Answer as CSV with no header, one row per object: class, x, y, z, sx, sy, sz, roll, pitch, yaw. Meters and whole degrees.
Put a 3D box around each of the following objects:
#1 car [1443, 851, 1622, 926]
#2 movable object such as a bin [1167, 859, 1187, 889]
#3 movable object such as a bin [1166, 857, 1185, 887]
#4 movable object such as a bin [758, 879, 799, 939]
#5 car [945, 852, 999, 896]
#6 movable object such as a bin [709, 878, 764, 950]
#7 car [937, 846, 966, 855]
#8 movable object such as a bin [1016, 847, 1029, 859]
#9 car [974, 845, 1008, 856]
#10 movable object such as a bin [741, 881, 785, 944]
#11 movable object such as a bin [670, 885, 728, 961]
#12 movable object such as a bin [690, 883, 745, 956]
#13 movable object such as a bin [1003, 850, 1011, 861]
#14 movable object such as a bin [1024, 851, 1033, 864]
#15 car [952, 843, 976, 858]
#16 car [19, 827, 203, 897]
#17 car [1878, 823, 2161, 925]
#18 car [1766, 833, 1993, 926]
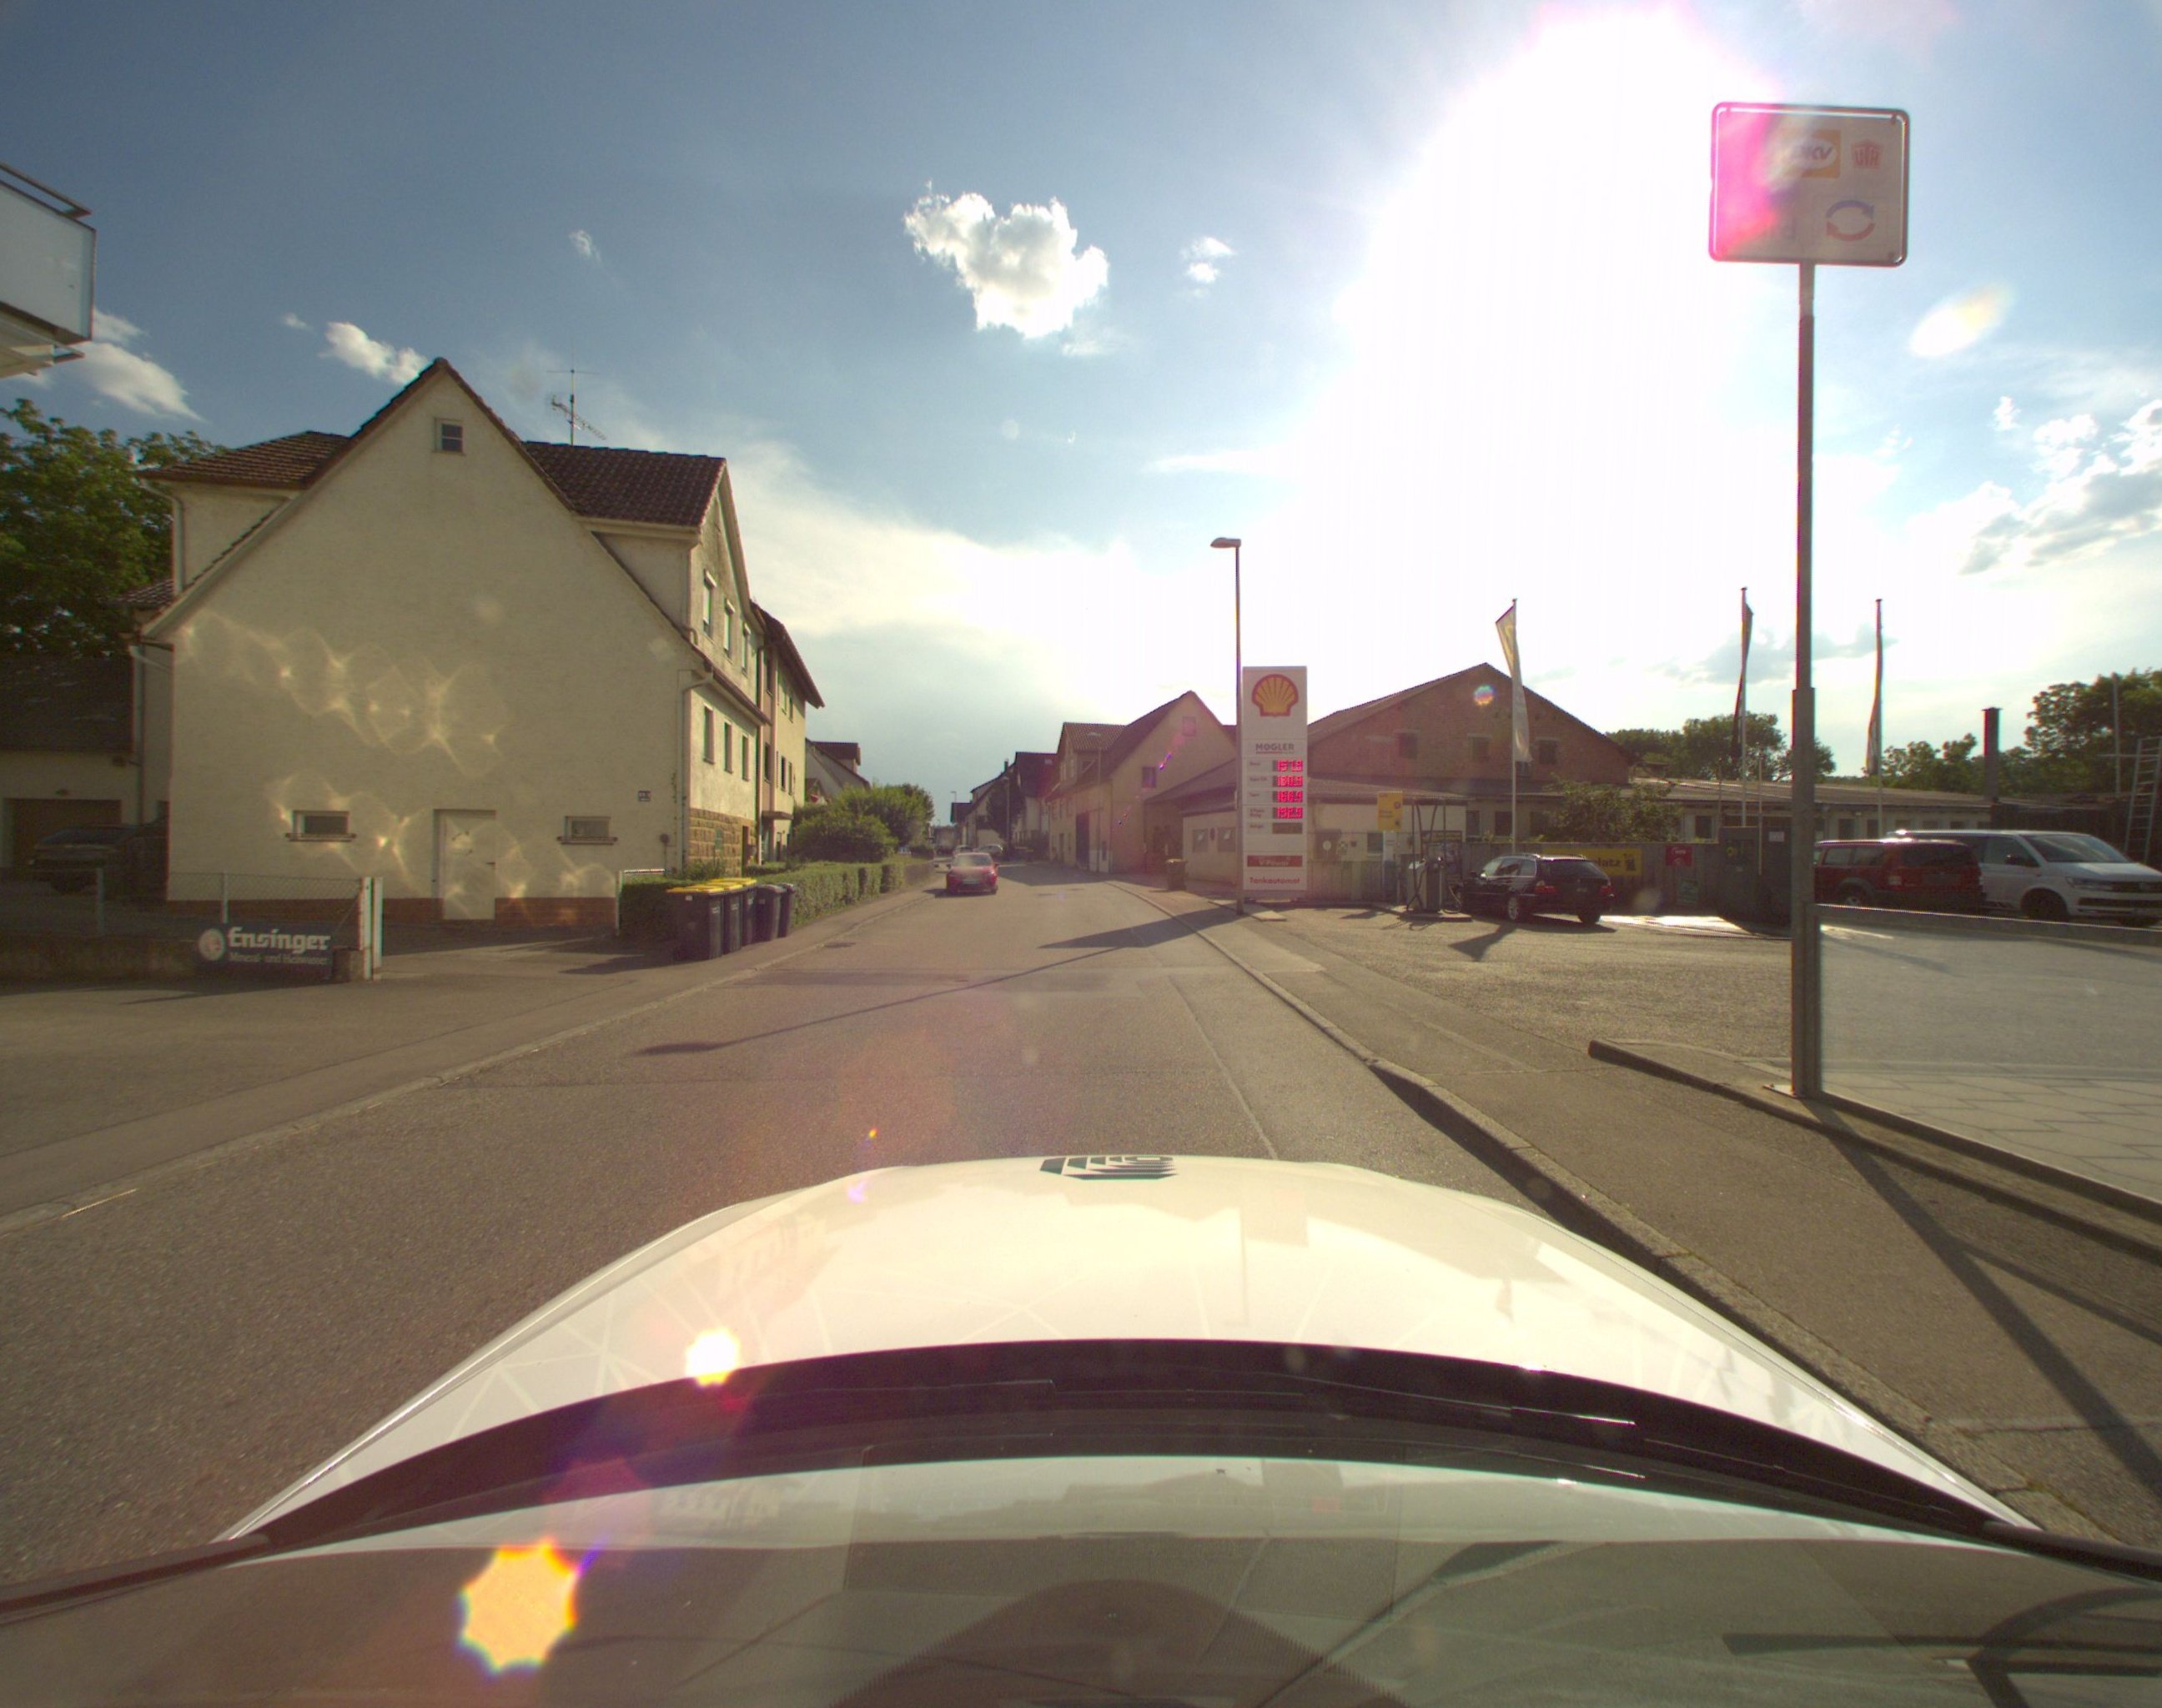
car,9.775,0.658,18.066,1.572,1.427,4.381,1,0,1
movable object such as a bin,3.426,0.716,29.054,0.651,1.073,0.513,0,0,-1
movable object such as a bin,3.433,0.666,29.609,0.651,1.073,0.513,0,0,-1
movable object such as a bin,-5.370,0.971,14.477,0.529,1.022,0.457,-2,0,1
car,-3.864,0.681,29.322,1.706,1.435,3.773,-2,0,-5
movable object such as a bin,-5.651,0.977,13.389,0.586,1.122,0.617,-2,0,1
car,-18.648,-0.513,117.487,3.992,1.352,1.703,0,0,-14
movable object such as a bin,-5.625,-0.096,78.429,1.161,1.168,0.653,0,0,-10
car,-10.912,-0.454,98.846,3.983,1.352,1.707,0,0,-7
movable object such as a bin,-5.435,0.995,13.940,0.529,1.022,0.457,-2,0,1
movable object such as a bin,-5.684,1.016,12.149,0.586,1.084,0.508,-2,0,1
movable object such as a bin,-5.684,1.018,12.744,0.586,1.084,0.530,-2,0,1
movable object such as a bin,-6.979,0.158,76.547,0.654,1.073,0.510,0,0,-14
movable object such as a bin,-4.386,0.318,68.115,0.654,1.073,0.510,0,0,-14
car,-12.854,-0.349,89.014,1.712,1.578,3.971,0,0,-22
car,-20.832,0.155,17.674,1.433,1.361,3.446,0,0,-29
car,20.148,0.339,17.669,1.570,1.923,4.559,0,1,5
car,17.016,0.467,17.626,1.570,1.792,3.637,0,1,5
